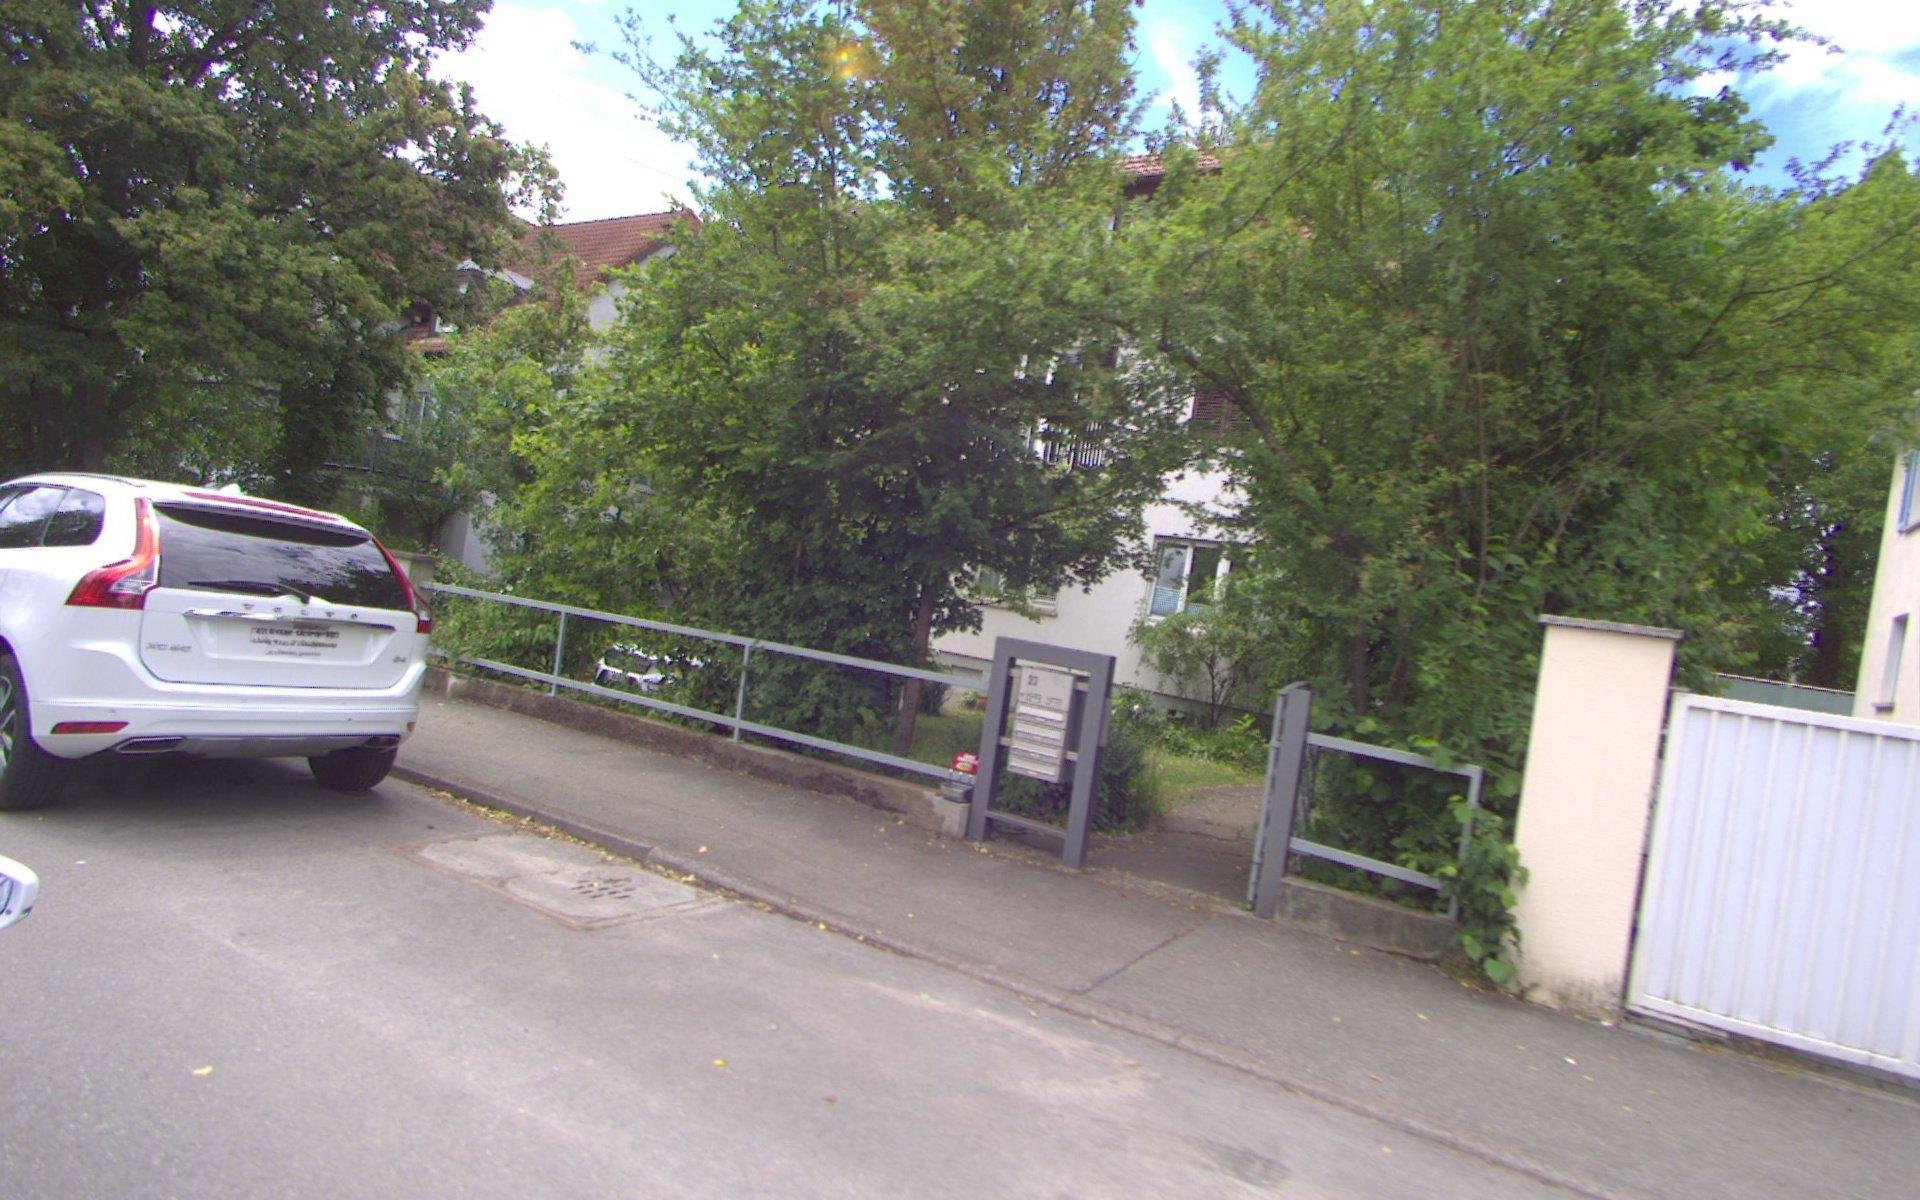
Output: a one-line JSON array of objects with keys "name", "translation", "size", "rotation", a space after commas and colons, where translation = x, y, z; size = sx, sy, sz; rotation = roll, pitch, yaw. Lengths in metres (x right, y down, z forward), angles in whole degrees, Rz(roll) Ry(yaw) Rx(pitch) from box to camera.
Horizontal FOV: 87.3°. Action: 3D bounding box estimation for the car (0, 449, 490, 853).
[{"name": "car", "translation": [-5.151, 0.107, 6.198], "size": [4.277, 1.704, 1.869], "rotation": [7, -2, 31]}]
